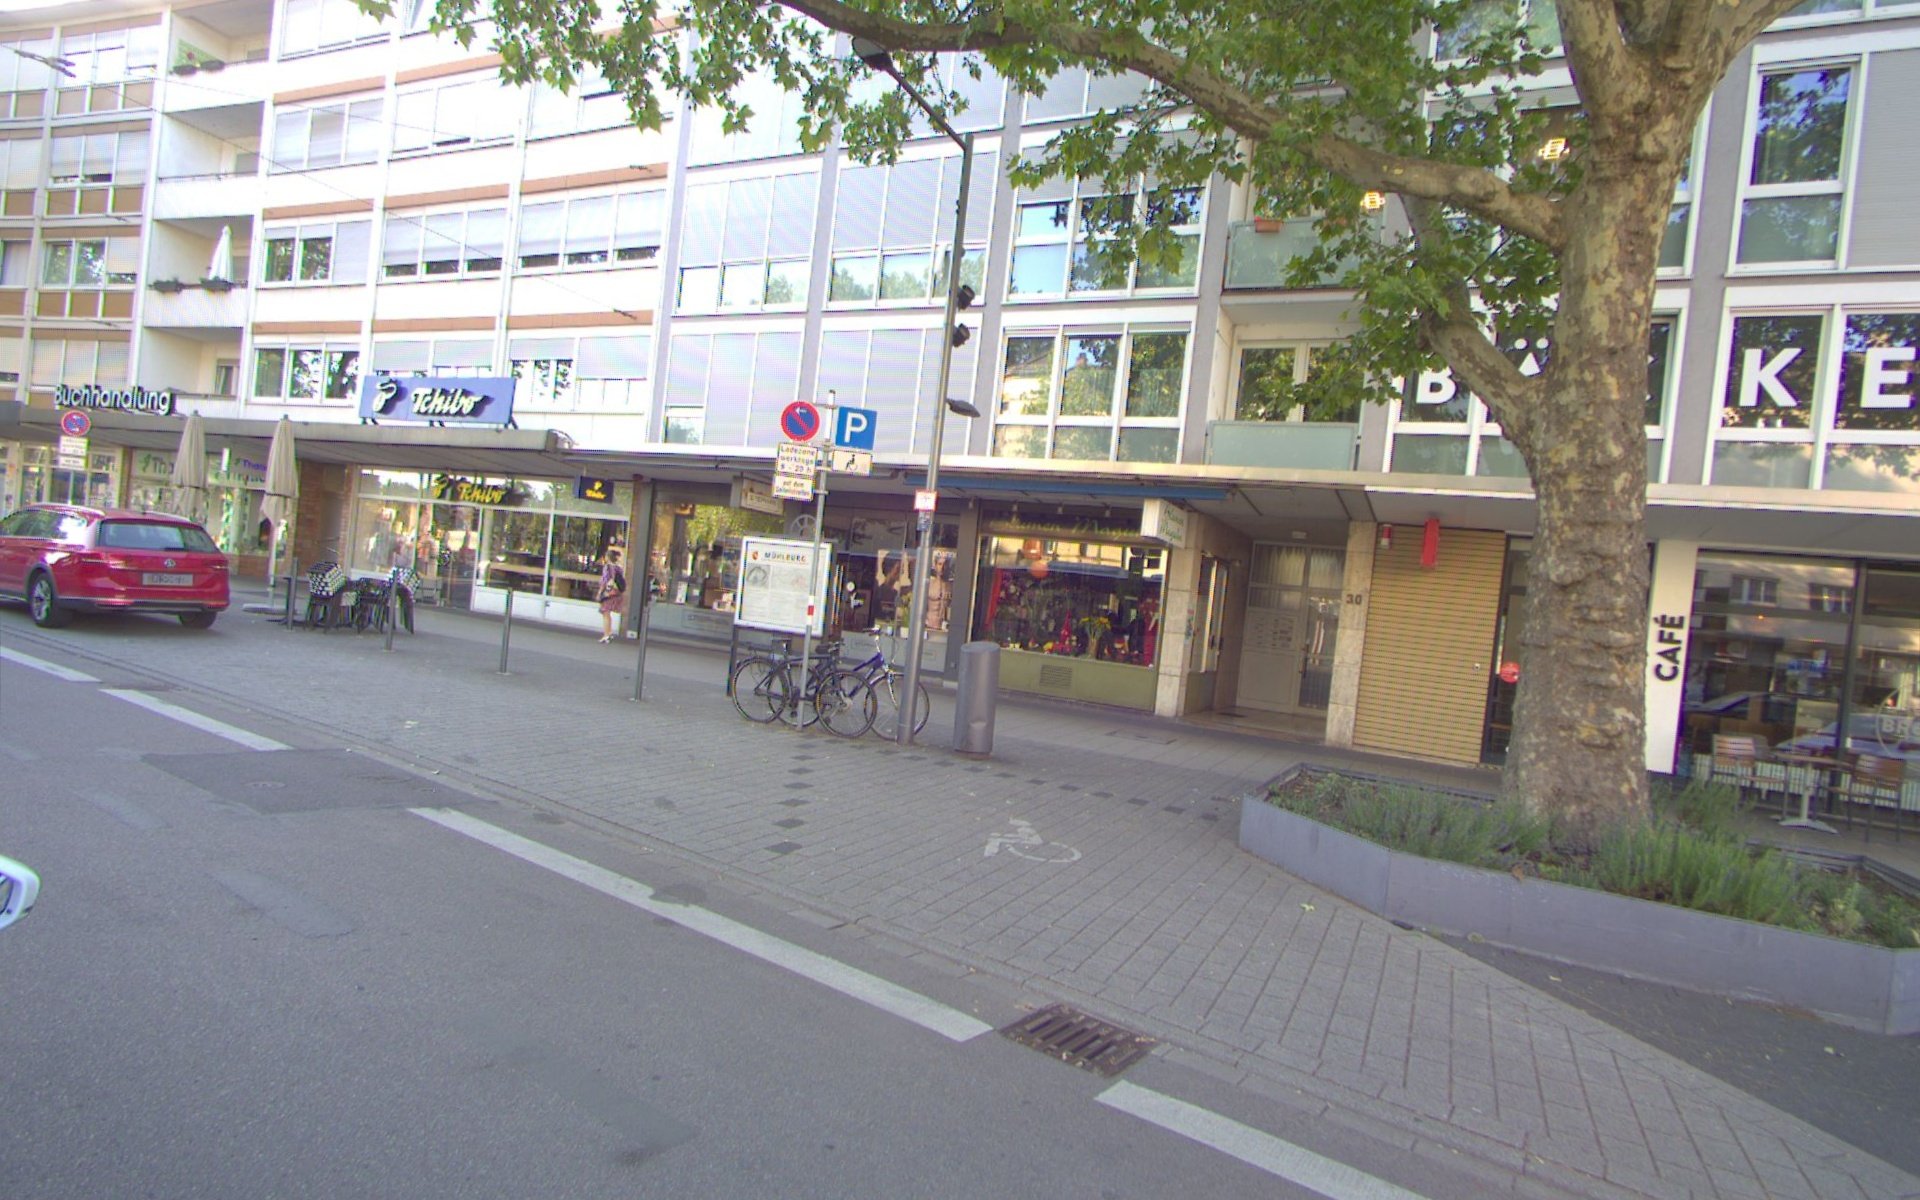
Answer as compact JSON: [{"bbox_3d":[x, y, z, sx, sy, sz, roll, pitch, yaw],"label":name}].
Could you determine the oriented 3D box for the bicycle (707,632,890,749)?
[{"bbox_3d":[-1.642,0.901,10.243,1.743,0.951,0.391,6,2,12],"label":"bicycle"}]

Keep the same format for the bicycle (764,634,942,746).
[{"bbox_3d":[-1.123,0.924,10.557,1.743,0.931,0.391,6,2,12],"label":"bicycle"}]

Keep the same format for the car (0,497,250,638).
[{"bbox_3d":[-11.655,-0.491,13.453,4.229,1.502,1.772,6,1,28],"label":"car"}]

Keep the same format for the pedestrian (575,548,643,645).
[{"bbox_3d":[-6.188,-0.054,17.746,0.776,1.613,0.651,7,3,26],"label":"pedestrian"}]
